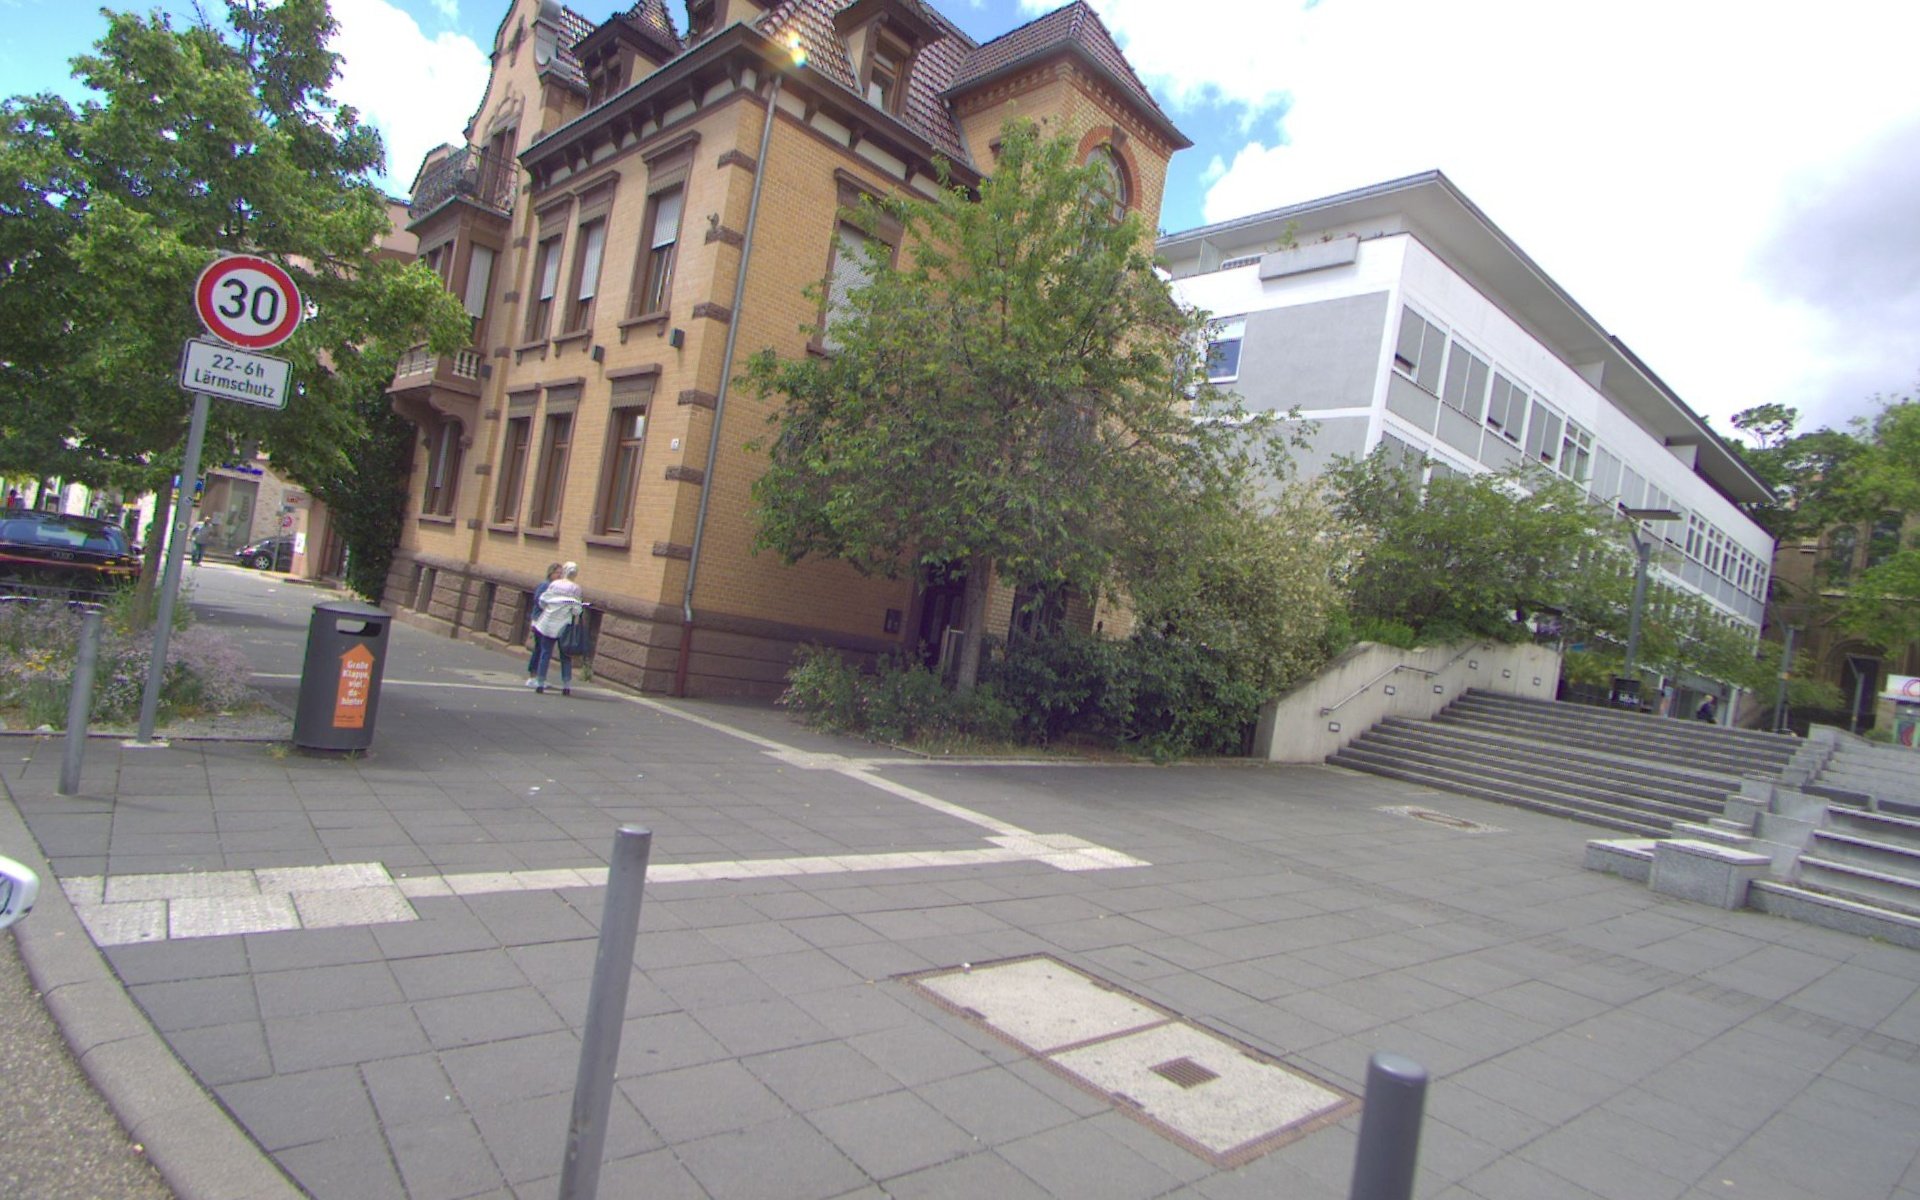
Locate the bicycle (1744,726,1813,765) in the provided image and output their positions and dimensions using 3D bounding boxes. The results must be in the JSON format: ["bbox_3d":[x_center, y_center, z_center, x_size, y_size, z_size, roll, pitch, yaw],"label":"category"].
[{"bbox_3d":[34.680,6.148,42.670,1.990,1.156,0.688,11,1,23],"label":"bicycle"}]

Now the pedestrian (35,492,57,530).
[{"bbox_3d":[-43.331,-4.220,47.688,0.560,1.702,0.558,7,-1,41],"label":"pedestrian"}]

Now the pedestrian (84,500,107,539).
[{"bbox_3d":[-40.156,-3.739,46.743,0.560,1.702,0.558,7,-1,41],"label":"pedestrian"}]

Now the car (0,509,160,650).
[{"bbox_3d":[-11.799,-0.372,12.913,1.852,1.422,4.319,9,-2,-44],"label":"car"}]

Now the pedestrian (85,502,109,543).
[{"bbox_3d":[-38.674,-3.462,45.095,0.630,1.711,0.558,7,-1,41],"label":"pedestrian"}]

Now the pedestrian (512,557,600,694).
[{"bbox_3d":[-5.163,0.331,12.868,0.664,1.648,0.555,7,-1,16],"label":"pedestrian"}]

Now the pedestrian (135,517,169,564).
[{"bbox_3d":[-29.799,-2.197,37.110,0.560,1.581,0.710,7,-1,41],"label":"pedestrian"}]

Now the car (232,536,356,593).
[{"bbox_3d":[-28.712,-1.514,43.475,1.821,1.582,3.989,7,-5,43],"label":"car"}]

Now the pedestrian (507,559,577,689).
[{"bbox_3d":[-5.563,0.321,13.388,0.503,1.648,0.503,7,-1,41],"label":"pedestrian"}]

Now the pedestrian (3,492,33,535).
[{"bbox_3d":[-39.905,-3.665,42.617,0.559,1.702,0.663,8,-1,34],"label":"pedestrian"}]

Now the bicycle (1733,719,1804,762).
[{"bbox_3d":[33.569,5.818,41.808,1.990,1.323,0.688,10,1,23],"label":"bicycle"}]

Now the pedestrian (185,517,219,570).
[{"bbox_3d":[-25.372,-1.904,33.684,0.690,1.645,0.630,7,-1,44],"label":"pedestrian"}]
